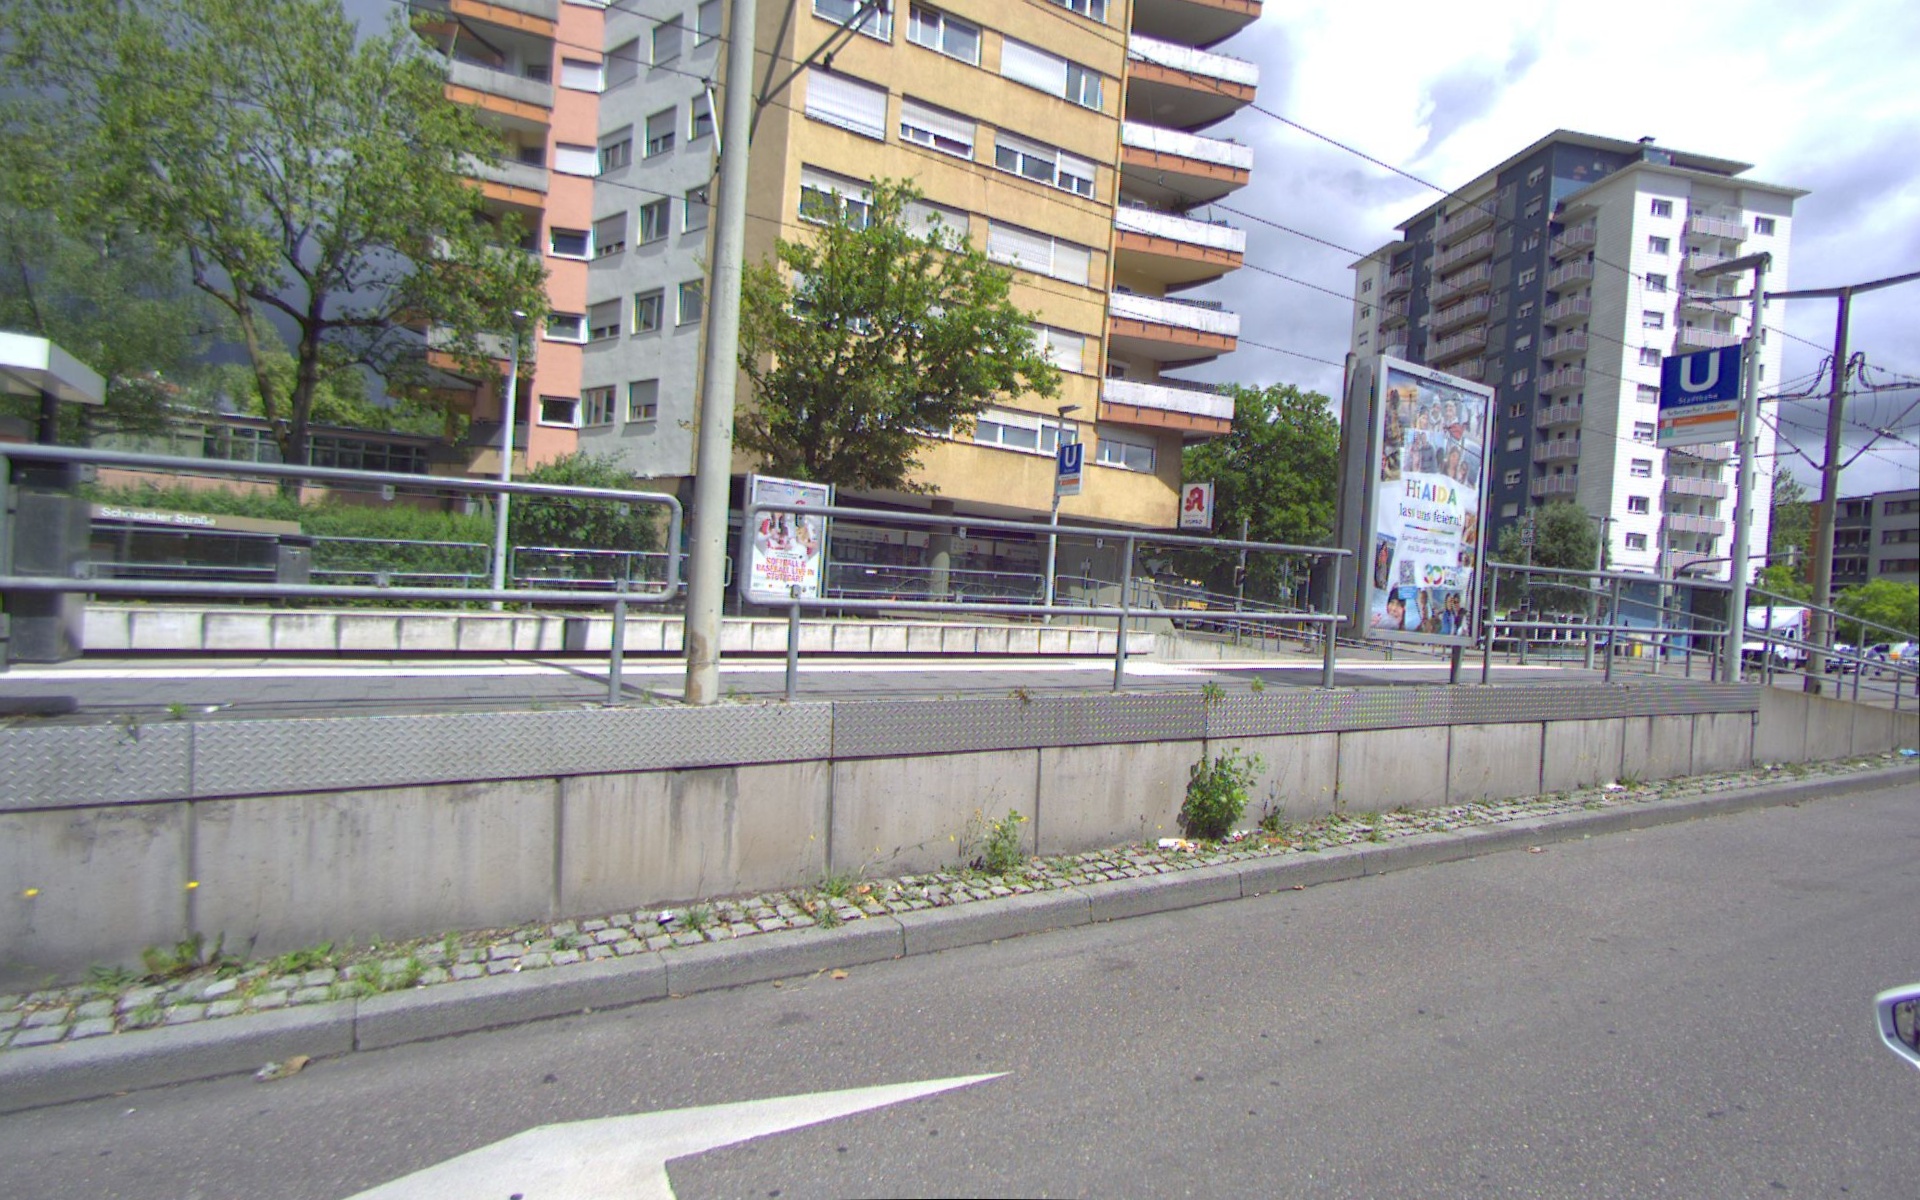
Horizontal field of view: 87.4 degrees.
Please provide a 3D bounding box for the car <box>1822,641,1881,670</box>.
[{"bbox_3d":[48.366,3.012,54.504,3.733,1.480,1.399,2,0,-32],"label":"car"}]

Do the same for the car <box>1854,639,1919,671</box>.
[{"bbox_3d":[64.111,3.777,68.873,3.846,2.001,1.657,2,0,18],"label":"car"}]

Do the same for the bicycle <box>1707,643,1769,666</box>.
[{"bbox_3d":[41.937,2.952,54.168,2.521,1.022,0.754,4,0,33],"label":"bicycle"}]

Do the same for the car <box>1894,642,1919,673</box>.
[{"bbox_3d":[57.910,3.479,60.409,3.732,1.780,1.583,2,0,-31],"label":"car"}]

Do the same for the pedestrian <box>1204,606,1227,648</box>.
[{"bbox_3d":[11.367,1.197,44.699,0.655,1.799,0.653,2,0,-32],"label":"pedestrian"}]

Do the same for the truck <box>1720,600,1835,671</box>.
[{"bbox_3d":[39.623,1.745,48.610,7.244,3.159,2.267,2,0,-34],"label":"truck"}]

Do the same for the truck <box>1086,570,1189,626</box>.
[{"bbox_3d":[7.919,-0.107,45.196,2.323,2.320,4.260,2,0,-29],"label":"truck"}]

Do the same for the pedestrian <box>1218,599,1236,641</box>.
[{"bbox_3d":[13.081,0.965,49.202,0.557,2.040,0.534,2,0,-40],"label":"pedestrian"}]

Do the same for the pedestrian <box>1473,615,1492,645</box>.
[{"bbox_3d":[35.876,2.042,68.962,0.831,2.040,0.861,2,0,-2],"label":"pedestrian"}]
